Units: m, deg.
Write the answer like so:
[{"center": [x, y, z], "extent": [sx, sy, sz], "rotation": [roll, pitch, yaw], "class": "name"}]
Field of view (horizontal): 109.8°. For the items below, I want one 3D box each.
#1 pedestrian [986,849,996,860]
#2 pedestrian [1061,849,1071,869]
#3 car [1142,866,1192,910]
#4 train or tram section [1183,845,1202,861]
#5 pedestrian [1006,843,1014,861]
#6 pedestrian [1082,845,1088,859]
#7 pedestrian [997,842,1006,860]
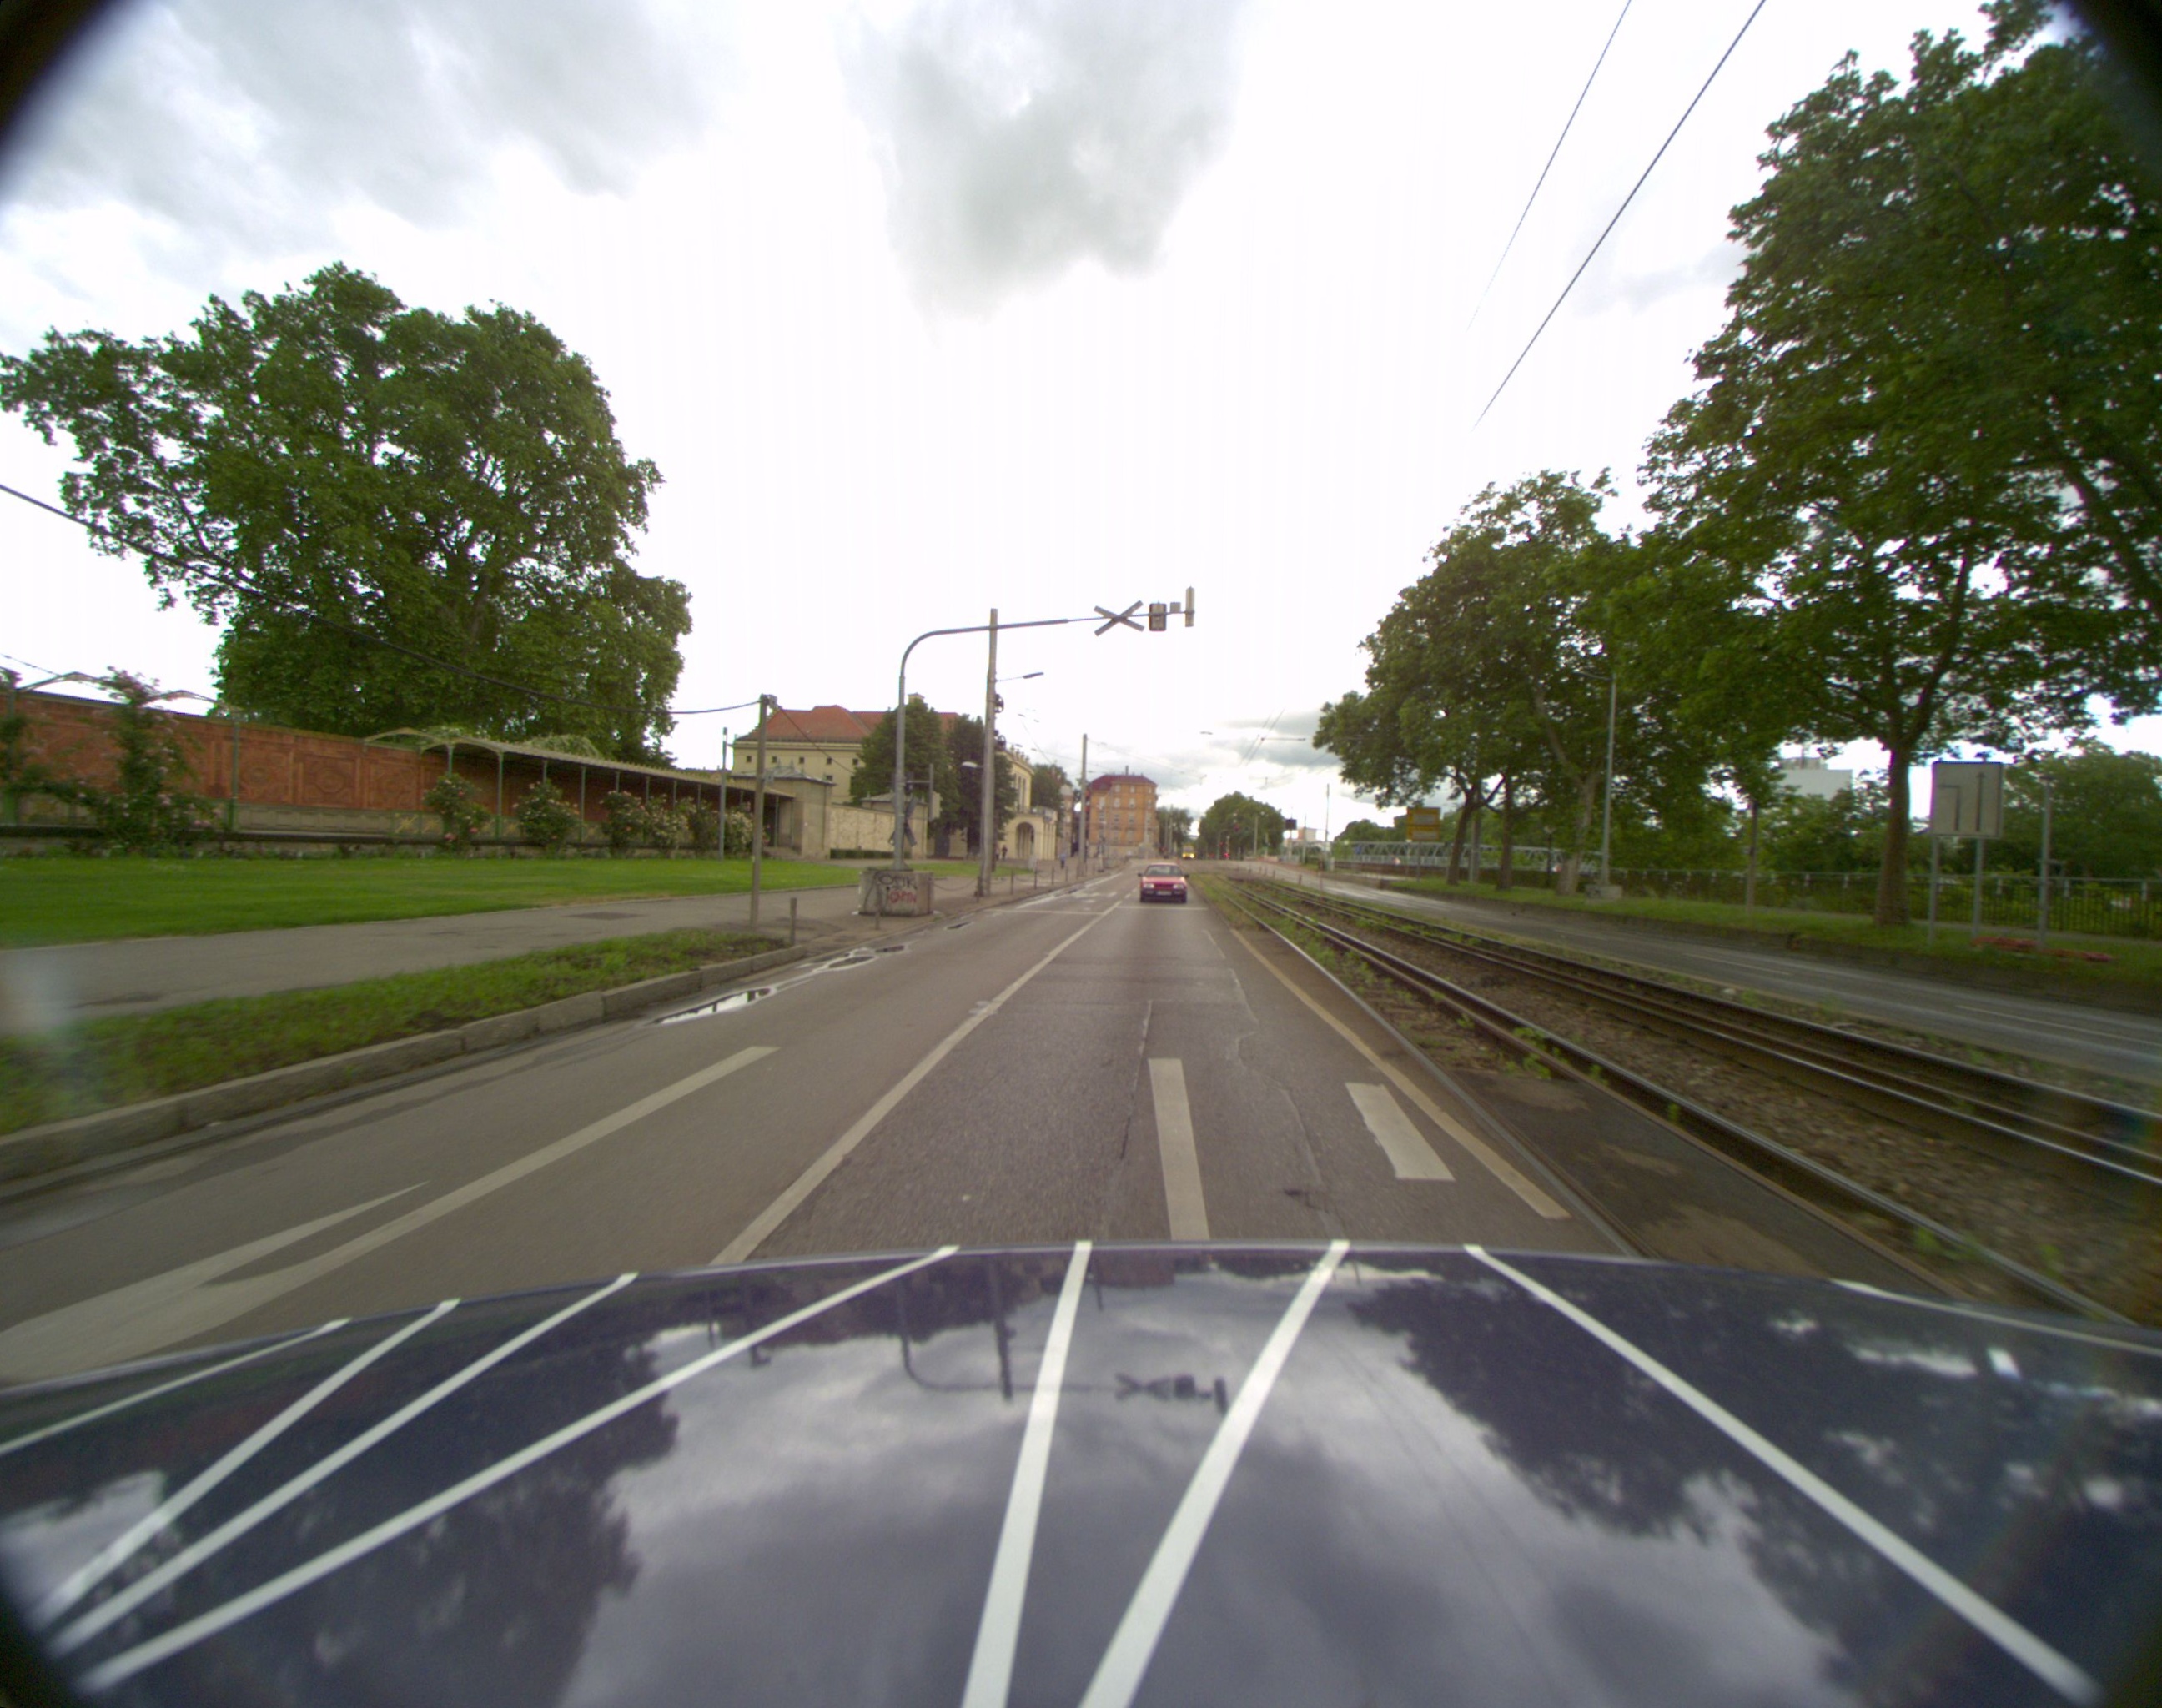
[{"center": [-8.750, 0.042, 74.198], "extent": [0.760, 0.995, 0.595], "rotation": [2, 1, -28], "class": "pedestrian"}, {"center": [-1.405, 0.456, 70.442], "extent": [0.672, 1.758, 0.937], "rotation": [3, 1, 7], "class": "pedestrian"}, {"center": [3.188, 1.187, 28.188], "extent": [1.680, 1.433, 4.121], "rotation": [0, 0, 6], "class": "car"}, {"center": [27.100, -0.431, 185.483], "extent": [3.737, 3.346, 17.561], "rotation": [3, 1, 6], "class": "train or tram section"}, {"center": [-6.917, -0.197, 74.064], "extent": [0.597, 1.689, 0.791], "rotation": [3, 1, 7], "class": "pedestrian"}, {"center": [0.489, -0.257, 93.550], "extent": [0.672, 1.758, 0.937], "rotation": [3, 1, 7], "class": "pedestrian"}, {"center": [-7.775, -0.297, 74.176], "extent": [0.596, 1.782, 0.809], "rotation": [3, 1, 7], "class": "pedestrian"}]
